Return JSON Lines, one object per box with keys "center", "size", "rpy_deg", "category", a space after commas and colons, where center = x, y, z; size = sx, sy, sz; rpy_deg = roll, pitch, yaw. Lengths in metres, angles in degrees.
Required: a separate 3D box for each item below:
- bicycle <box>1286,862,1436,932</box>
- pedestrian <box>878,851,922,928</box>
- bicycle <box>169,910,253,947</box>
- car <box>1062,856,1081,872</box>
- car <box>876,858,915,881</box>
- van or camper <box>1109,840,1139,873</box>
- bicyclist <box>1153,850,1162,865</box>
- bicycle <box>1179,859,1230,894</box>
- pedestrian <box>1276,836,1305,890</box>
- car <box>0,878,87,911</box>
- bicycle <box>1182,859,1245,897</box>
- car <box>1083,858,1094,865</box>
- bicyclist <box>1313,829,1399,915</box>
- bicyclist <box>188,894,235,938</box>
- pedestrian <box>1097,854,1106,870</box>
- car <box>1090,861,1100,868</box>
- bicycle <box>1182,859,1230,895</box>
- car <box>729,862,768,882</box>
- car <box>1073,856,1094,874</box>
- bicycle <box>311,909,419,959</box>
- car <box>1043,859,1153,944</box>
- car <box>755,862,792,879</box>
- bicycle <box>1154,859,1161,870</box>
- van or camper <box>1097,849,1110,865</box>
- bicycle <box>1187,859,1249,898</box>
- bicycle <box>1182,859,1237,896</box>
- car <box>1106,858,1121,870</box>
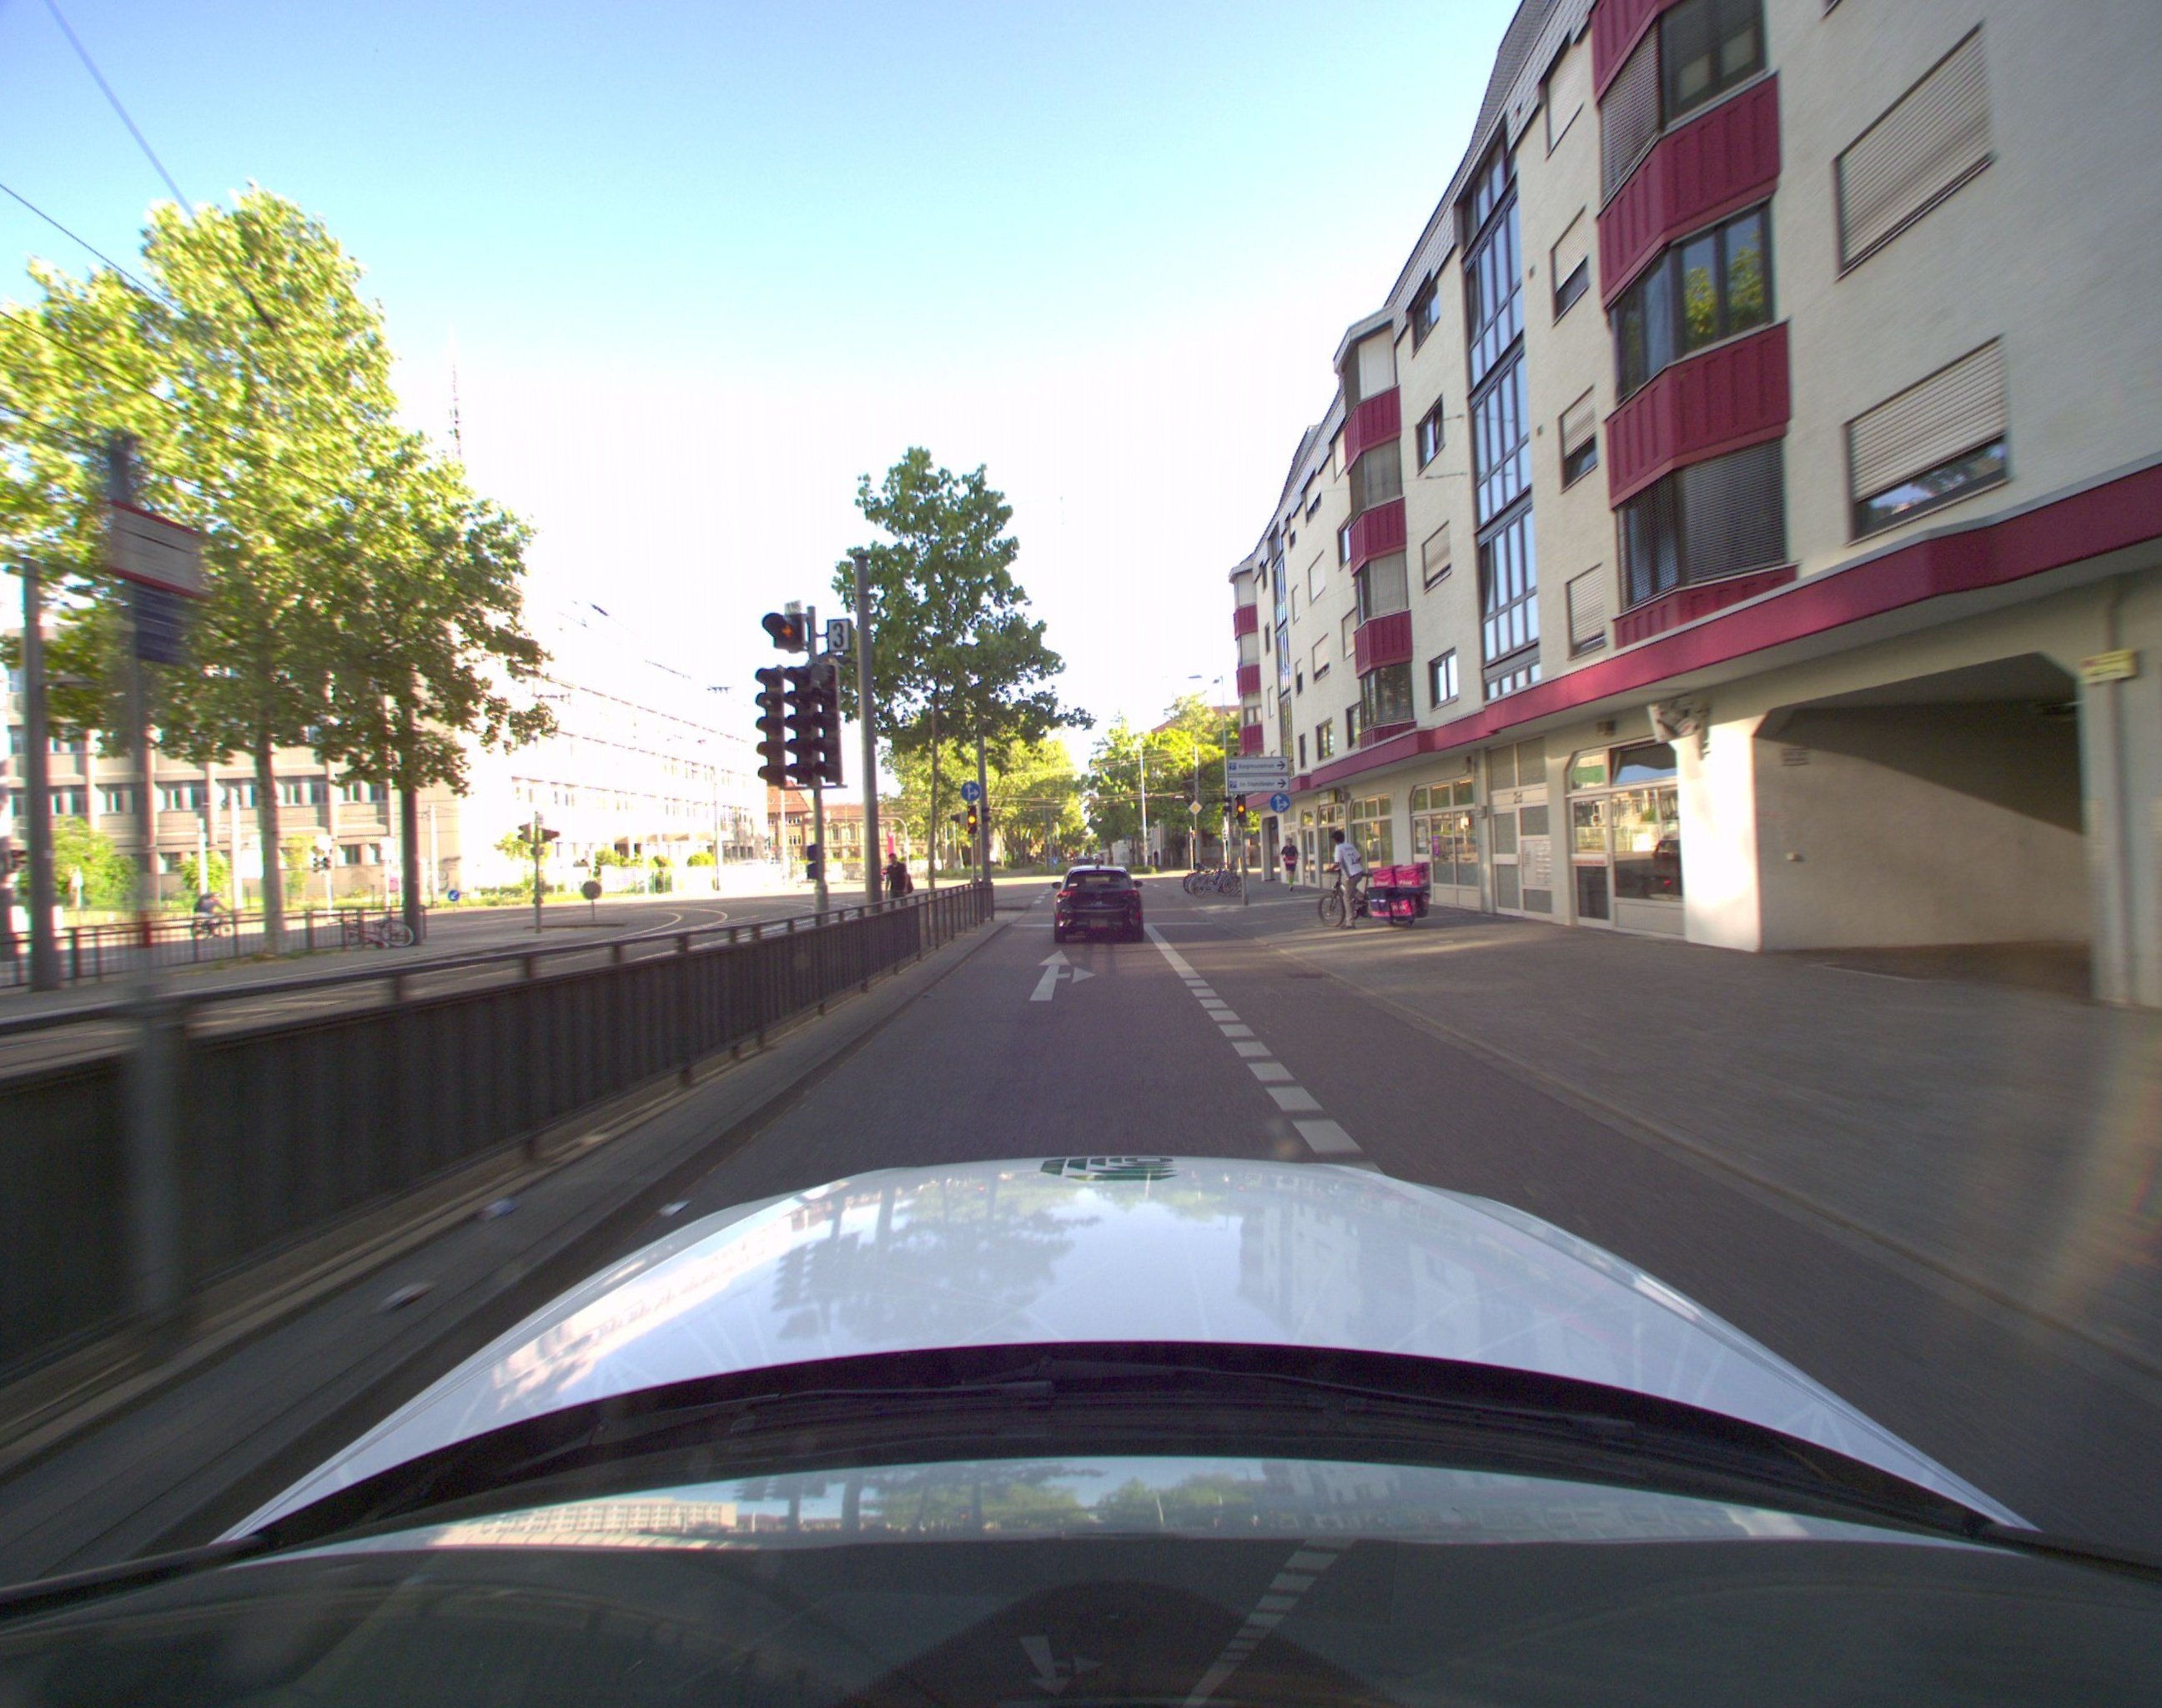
{"center": [5.268, 0.785, 15.527], "size": [0.968, 1.183, 2.569], "rpy_deg": [-2, 0, -36], "category": "bicycle"}
{"center": [-4.228, 0.805, 19.063], "size": [0.730, 1.746, 0.713], "rpy_deg": [-2, 0, 6], "category": "pedestrian"}
{"center": [-31.409, 2.682, 29.421], "size": [2.040, 1.189, 0.587], "rpy_deg": [-2, -1, -16], "category": "bicycle"}
{"center": [-1.038, 1.093, 88.346], "size": [1.987, 1.627, 4.469], "rpy_deg": [0, 0, 0], "category": "car"}
{"center": [-16.808, 1.382, 74.077], "size": [1.983, 1.947, 4.433], "rpy_deg": [-2, 0, 7], "category": "car"}
{"center": [4.396, 0.260, 84.307], "size": [2.368, 3.125, 7.549], "rpy_deg": [-5, 0, 0], "category": "van or camper"}
{"center": [7.551, 0.341, 80.568], "size": [0.746, 1.510, 0.702], "rpy_deg": [-2, -1, 3], "category": "bicyclist"}
{"center": [4.519, 0.839, 29.931], "size": [1.793, 1.199, 0.546], "rpy_deg": [-3, -2, 5], "category": "bicycle"}
{"center": [7.349, 0.307, 28.591], "size": [0.720, 1.858, 0.801], "rpy_deg": [-3, -1, 0], "category": "pedestrian"}
{"center": [-72.031, 2.782, 56.147], "size": [1.987, 2.013, 4.000], "rpy_deg": [-2, 0, 0], "category": "car"}
{"center": [4.504, 0.814, 27.728], "size": [1.973, 1.199, 0.590], "rpy_deg": [-3, -1, -4], "category": "bicycle"}
{"center": [1.487, 1.483, 162.978], "size": [1.898, 1.425, 4.217], "rpy_deg": [-2, 0, 2], "category": "car"}
{"center": [5.243, 0.332, 15.549], "size": [1.065, 1.540, 1.067], "rpy_deg": [-2, -1, -36], "category": "bicyclist"}
{"center": [-31.419, 2.234, 29.440], "size": [0.881, 1.494, 0.719], "rpy_deg": [-2, -1, -16], "category": "bicyclist"}
{"center": [2.542, 0.982, 100.060], "size": [1.033, 2.024, 1.212], "rpy_deg": [-2, -1, 0], "category": "pedestrian"}
{"center": [2.961, 2.163, 172.131], "size": [1.898, 1.425, 4.217], "rpy_deg": [-2, 0, 2], "category": "car"}
{"center": [4.472, 0.827, 29.184], "size": [1.615, 1.199, 0.497], "rpy_deg": [-3, -1, 5], "category": "bicycle"}
{"center": [-36.686, 2.007, 90.011], "size": [1.984, 2.013, 4.732], "rpy_deg": [-3, 0, 6], "category": "car"}
{"center": [0.282, 1.071, 77.560], "size": [1.826, 1.623, 4.286], "rpy_deg": [-1, 0, 2], "category": "car"}
{"center": [-16.329, 1.800, 18.639], "size": [0.808, 0.946, 1.729], "rpy_deg": [-2, 0, 7], "category": "bicycle"}
{"center": [0.374, 0.855, 16.671], "size": [1.898, 1.425, 4.217], "rpy_deg": [-2, 0, 2], "category": "car"}
{"center": [-33.765, 1.768, 89.481], "size": [1.984, 1.703, 4.385], "rpy_deg": [-3, 0, 6], "category": "car"}
{"center": [7.575, 1.003, 80.551], "size": [0.636, 1.070, 1.953], "rpy_deg": [-3, -1, 4], "category": "bicycle"}
{"center": [4.410, 0.550, 157.757], "size": [2.477, 2.994, 5.436], "rpy_deg": [-1, -1, 2], "category": "van or camper"}
{"center": [4.557, 0.808, 27.106], "size": [1.935, 1.170, 0.572], "rpy_deg": [-3, -1, -3], "category": "bicycle"}
{"center": [4.507, 0.828, 28.612], "size": [1.823, 1.221, 0.497], "rpy_deg": [-3, 0, 4], "category": "bicycle"}
{"center": [4.430, 1.355, 111.093], "size": [1.784, 1.510, 3.875], "rpy_deg": [-4, 0, 1], "category": "car"}
